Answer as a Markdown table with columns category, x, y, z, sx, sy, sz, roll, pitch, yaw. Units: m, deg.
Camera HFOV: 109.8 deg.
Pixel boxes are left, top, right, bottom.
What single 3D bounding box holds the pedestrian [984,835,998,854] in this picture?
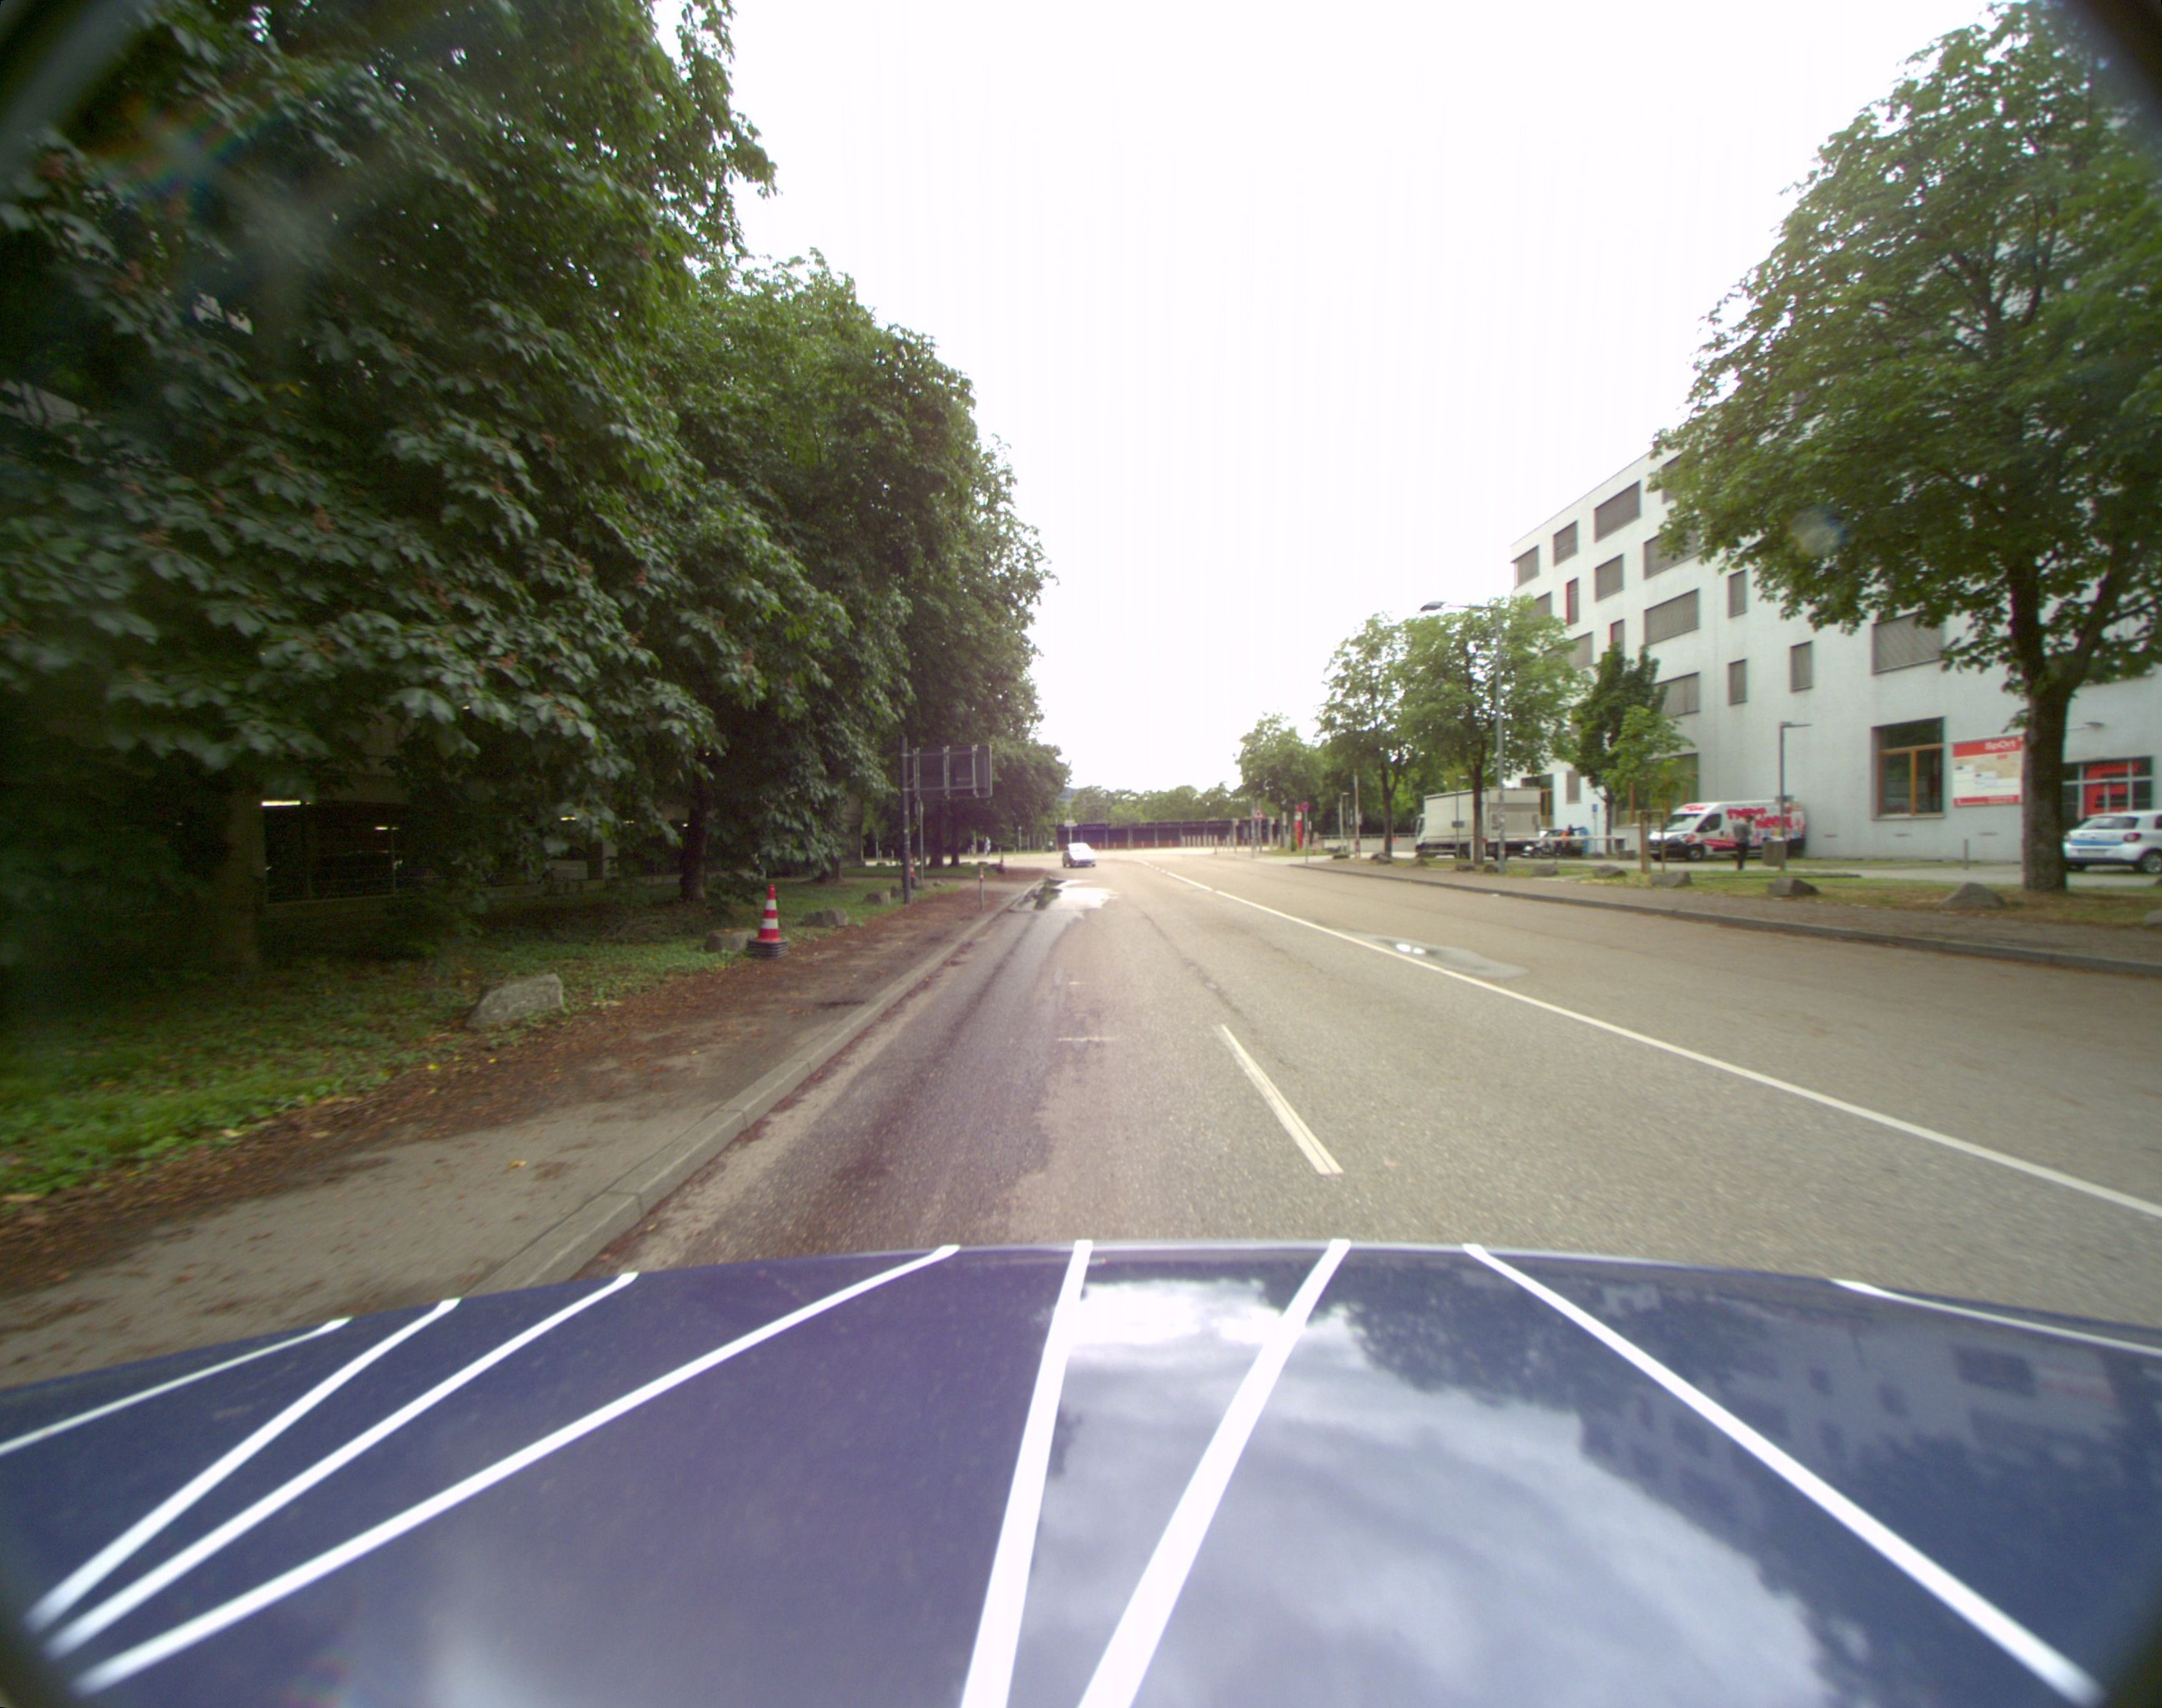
| category | x | y | z | sx | sy | sz | roll | pitch | yaw |
| --- | --- | --- | --- | --- | --- | --- | --- | --- | --- |
| pedestrian | -9.043 | -0.993 | 76.373 | 1.200 | 1.824 | 0.927 | -2 | 4 | 4 |

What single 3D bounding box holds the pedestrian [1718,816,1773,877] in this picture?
| category | x | y | z | sx | sy | sz | roll | pitch | yaw |
| --- | --- | --- | --- | --- | --- | --- | --- | --- | --- |
| pedestrian | 18.711 | -0.223 | 21.409 | 0.846 | 1.663 | 0.786 | -3 | 3 | -7 |

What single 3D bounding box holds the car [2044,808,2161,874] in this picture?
| category | x | y | z | sx | sy | sz | roll | pitch | yaw |
| --- | --- | --- | --- | --- | --- | --- | --- | --- | --- |
| car | 26.800 | -0.367 | 18.860 | 3.621 | 1.492 | 1.691 | -2 | 3 | 0 |

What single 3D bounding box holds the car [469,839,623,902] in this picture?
| category | x | y | z | sx | sy | sz | roll | pitch | yaw |
| --- | --- | --- | --- | --- | --- | --- | --- | --- | --- |
| car | -17.316 | 0.453 | 24.943 | 1.589 | 1.699 | 4.666 | -2 | 2 | 1 |

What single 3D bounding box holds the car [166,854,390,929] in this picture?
| category | x | y | z | sx | sy | sz | roll | pitch | yaw |
| --- | --- | --- | --- | --- | --- | --- | --- | --- | --- |
| car | -20.391 | 0.882 | 19.560 | 1.721 | 1.537 | 3.700 | -2 | 2 | -1 |

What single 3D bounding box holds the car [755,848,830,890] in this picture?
| category | x | y | z | sx | sy | sz | roll | pitch | yaw |
| --- | --- | --- | --- | --- | --- | --- | --- | --- | --- |
| car | -14.505 | 0.697 | 38.533 | 1.924 | 1.824 | 4.734 | -2 | 1 | 0 |

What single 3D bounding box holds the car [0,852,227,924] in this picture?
| category | x | y | z | sx | sy | sz | roll | pitch | yaw |
| --- | --- | --- | --- | --- | --- | --- | --- | --- | --- |
| car | -25.282 | 0.811 | 19.823 | 1.721 | 1.537 | 3.700 | -2 | 2 | -1 |

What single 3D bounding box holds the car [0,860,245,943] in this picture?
| category | x | y | z | sx | sy | sz | roll | pitch | yaw |
| --- | --- | --- | --- | --- | --- | --- | --- | --- | --- |
| car | -22.731 | 1.045 | 17.969 | 1.721 | 1.537 | 3.700 | -2 | 2 | -1 |

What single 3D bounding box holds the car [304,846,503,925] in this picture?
| category | x | y | z | sx | sy | sz | roll | pitch | yaw |
| --- | --- | --- | --- | --- | --- | --- | --- | --- | --- |
| car | -17.472 | 0.722 | 19.884 | 1.589 | 1.699 | 3.856 | -2 | 2 | 1 |

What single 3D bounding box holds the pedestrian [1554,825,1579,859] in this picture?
| category | x | y | z | sx | sy | sz | roll | pitch | yaw |
| --- | --- | --- | --- | --- | --- | --- | --- | --- | --- |
| pedestrian | 23.486 | -0.563 | 36.775 | 0.886 | 1.597 | 0.680 | -1 | 3 | 21 |

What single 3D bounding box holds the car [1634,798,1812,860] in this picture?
| category | x | y | z | sx | sy | sz | roll | pitch | yaw |
| --- | --- | --- | --- | --- | --- | --- | --- | --- | --- |
| car | 26.563 | -1.037 | 31.563 | 5.640 | 2.266 | 2.078 | -2 | 3 | 0 |

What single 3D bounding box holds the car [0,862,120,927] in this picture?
| category | x | y | z | sx | sy | sz | roll | pitch | yaw |
| --- | --- | --- | --- | --- | --- | --- | --- | --- | --- |
| car | -28.217 | 1.091 | 19.715 | 1.721 | 1.537 | 3.700 | -2 | 2 | 0 |

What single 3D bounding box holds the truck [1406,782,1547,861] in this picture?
| category | x | y | z | sx | sy | sz | roll | pitch | yaw |
| --- | --- | --- | --- | --- | --- | --- | --- | --- | --- |
| truck | 20.330 | -1.666 | 39.747 | 2.684 | 3.581 | 8.359 | -3 | 2 | -2 |

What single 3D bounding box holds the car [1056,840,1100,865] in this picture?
| category | x | y | z | sx | sy | sz | roll | pitch | yaw |
| --- | --- | --- | --- | --- | --- | --- | --- | --- | --- |
| car | -0.217 | -0.101 | 48.606 | 1.608 | 1.448 | 3.496 | -3 | 3 | -20 |
